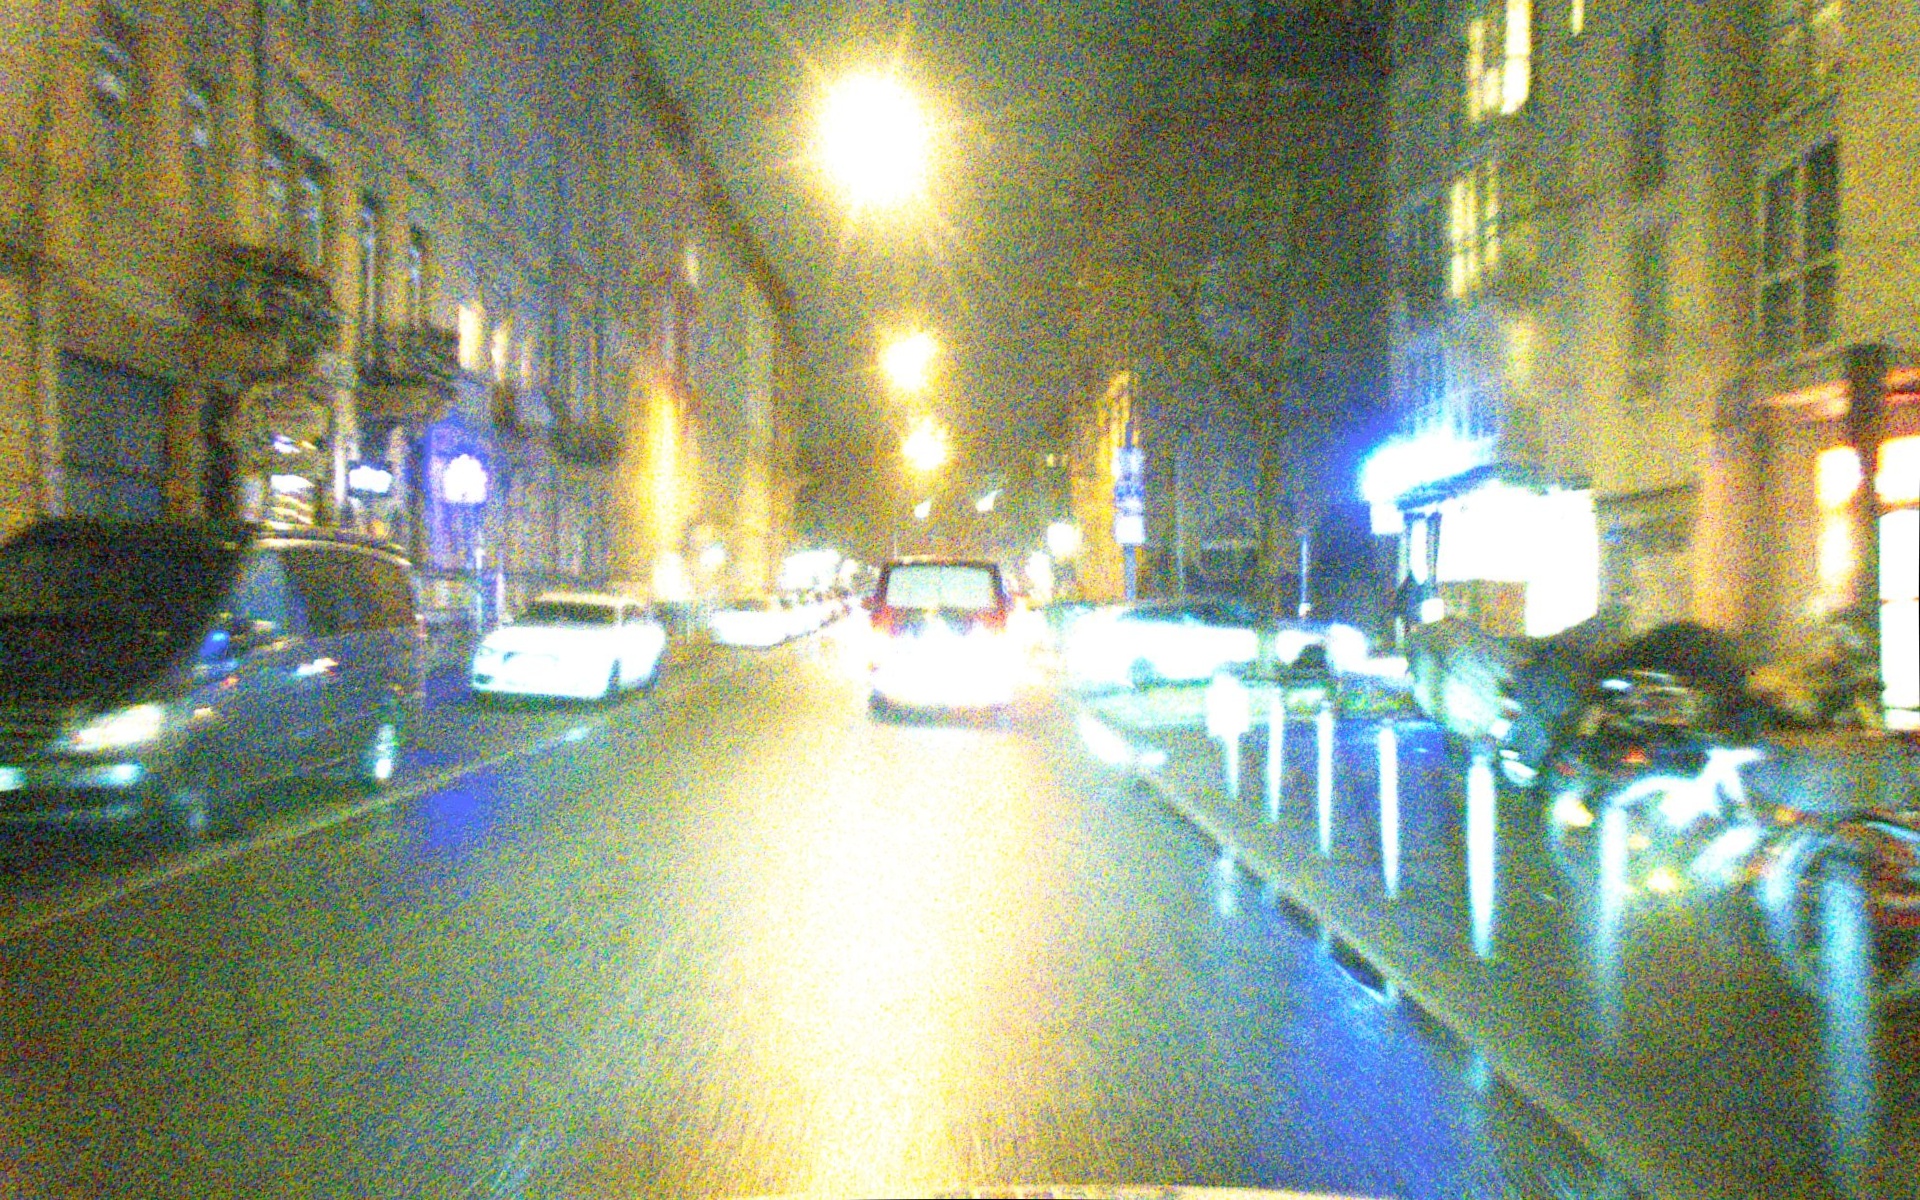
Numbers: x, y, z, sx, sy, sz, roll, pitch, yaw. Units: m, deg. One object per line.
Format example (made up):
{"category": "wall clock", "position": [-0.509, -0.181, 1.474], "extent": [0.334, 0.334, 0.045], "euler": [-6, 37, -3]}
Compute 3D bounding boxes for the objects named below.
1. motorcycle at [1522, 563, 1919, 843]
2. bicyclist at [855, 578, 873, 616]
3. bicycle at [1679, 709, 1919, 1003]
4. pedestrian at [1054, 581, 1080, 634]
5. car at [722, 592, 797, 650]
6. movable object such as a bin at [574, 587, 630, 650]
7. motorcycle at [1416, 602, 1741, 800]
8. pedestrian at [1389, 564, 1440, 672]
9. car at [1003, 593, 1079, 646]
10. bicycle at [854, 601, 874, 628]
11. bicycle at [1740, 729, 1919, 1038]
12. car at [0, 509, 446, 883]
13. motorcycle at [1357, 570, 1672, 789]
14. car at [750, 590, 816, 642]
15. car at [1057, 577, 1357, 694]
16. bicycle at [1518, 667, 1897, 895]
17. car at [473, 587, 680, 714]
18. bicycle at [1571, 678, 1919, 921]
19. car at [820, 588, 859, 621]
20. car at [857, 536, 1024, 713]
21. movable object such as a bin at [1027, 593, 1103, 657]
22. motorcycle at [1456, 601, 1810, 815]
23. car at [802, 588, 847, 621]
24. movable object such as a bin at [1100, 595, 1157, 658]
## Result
{"category": "motorcycle", "position": [4.844, 0.627, 10.567], "extent": [2.129, 1.574, 0.866], "euler": [-4, 0, -2]}
{"category": "bicyclist", "position": [-4.012, -0.124, 69.489], "extent": [0.704, 1.583, 0.895], "euler": [-1, 0, -1]}
{"category": "bicycle", "position": [3.632, 0.941, 6.389], "extent": [1.499, 0.968, 0.366], "euler": [-5, -1, -5]}
{"category": "pedestrian", "position": [3.744, 0.259, 58.004], "extent": [0.844, 1.819, 1.083], "euler": [-1, 1, 2]}
{"category": "car", "position": [-5.526, 0.550, 45.990], "extent": [1.638, 1.517, 3.721], "euler": [2, 0, -1]}
{"category": "movable object such as a bin", "position": [-8.551, 0.426, 39.574], "extent": [1.079, 1.479, 1.378], "euler": [-1, 0, -3]}
{"category": "motorcycle", "position": [4.759, 0.756, 12.834], "extent": [2.129, 1.341, 0.866], "euler": [-4, 0, -2]}
{"category": "pedestrian", "position": [7.864, 0.306, 28.616], "extent": [0.688, 1.819, 0.624], "euler": [-1, 1, 2]}
{"category": "car", "position": [2.361, 0.549, 49.079], "extent": [1.953, 1.489, 4.416], "euler": [0, 0, -1]}
{"category": "bicycle", "position": [-4.021, 0.605, 69.480], "extent": [0.712, 1.091, 2.348], "euler": [-1, 0, -1]}
{"category": "bicycle", "position": [3.656, 0.952, 5.932], "extent": [1.499, 0.968, 0.366], "euler": [-5, -1, -5]}
{"category": "car", "position": [-5.157, 0.455, 10.855], "extent": [1.955, 1.861, 5.206], "euler": [0, 0, 0]}
{"category": "motorcycle", "position": [4.577, 0.642, 13.771], "extent": [2.242, 1.615, 0.866], "euler": [-4, 0, -2]}
{"category": "car", "position": [-5.684, 0.484, 53.358], "extent": [1.738, 1.599, 4.134], "euler": [0, 0, -1]}
{"category": "car", "position": [3.861, 0.534, 26.328], "extent": [4.421, 1.557, 1.780], "euler": [-3, 0, -2]}
{"category": "bicycle", "position": [3.741, 0.908, 8.349], "extent": [1.634, 0.968, 0.366], "euler": [-6, -1, 6]}
{"category": "car", "position": [-5.274, 0.620, 23.404], "extent": [1.731, 1.508, 4.772], "euler": [4, 0, 0]}
{"category": "bicycle", "position": [3.730, 0.927, 7.757], "extent": [1.496, 0.968, 0.366], "euler": [-6, -1, 6]}
{"category": "car", "position": [-6.484, 0.231, 89.451], "extent": [1.795, 1.747, 4.594], "euler": [1, 0, -1]}
{"category": "car", "position": [-0.242, 0.274, 21.958], "extent": [1.955, 2.084, 4.694], "euler": [0, 0, 0]}
{"category": "movable object such as a bin", "position": [2.461, 0.571, 38.719], "extent": [1.327, 1.454, 1.185], "euler": [0, 0, -37]}
{"category": "motorcycle", "position": [4.798, 0.746, 11.902], "extent": [2.129, 1.341, 0.866], "euler": [-4, 0, -2]}
{"category": "car", "position": [-6.408, 0.204, 78.461], "extent": [1.795, 1.512, 4.594], "euler": [1, 0, -1]}
{"category": "movable object such as a bin", "position": [3.992, 0.608, 39.123], "extent": [1.281, 1.454, 1.051], "euler": [0, 0, 8]}
